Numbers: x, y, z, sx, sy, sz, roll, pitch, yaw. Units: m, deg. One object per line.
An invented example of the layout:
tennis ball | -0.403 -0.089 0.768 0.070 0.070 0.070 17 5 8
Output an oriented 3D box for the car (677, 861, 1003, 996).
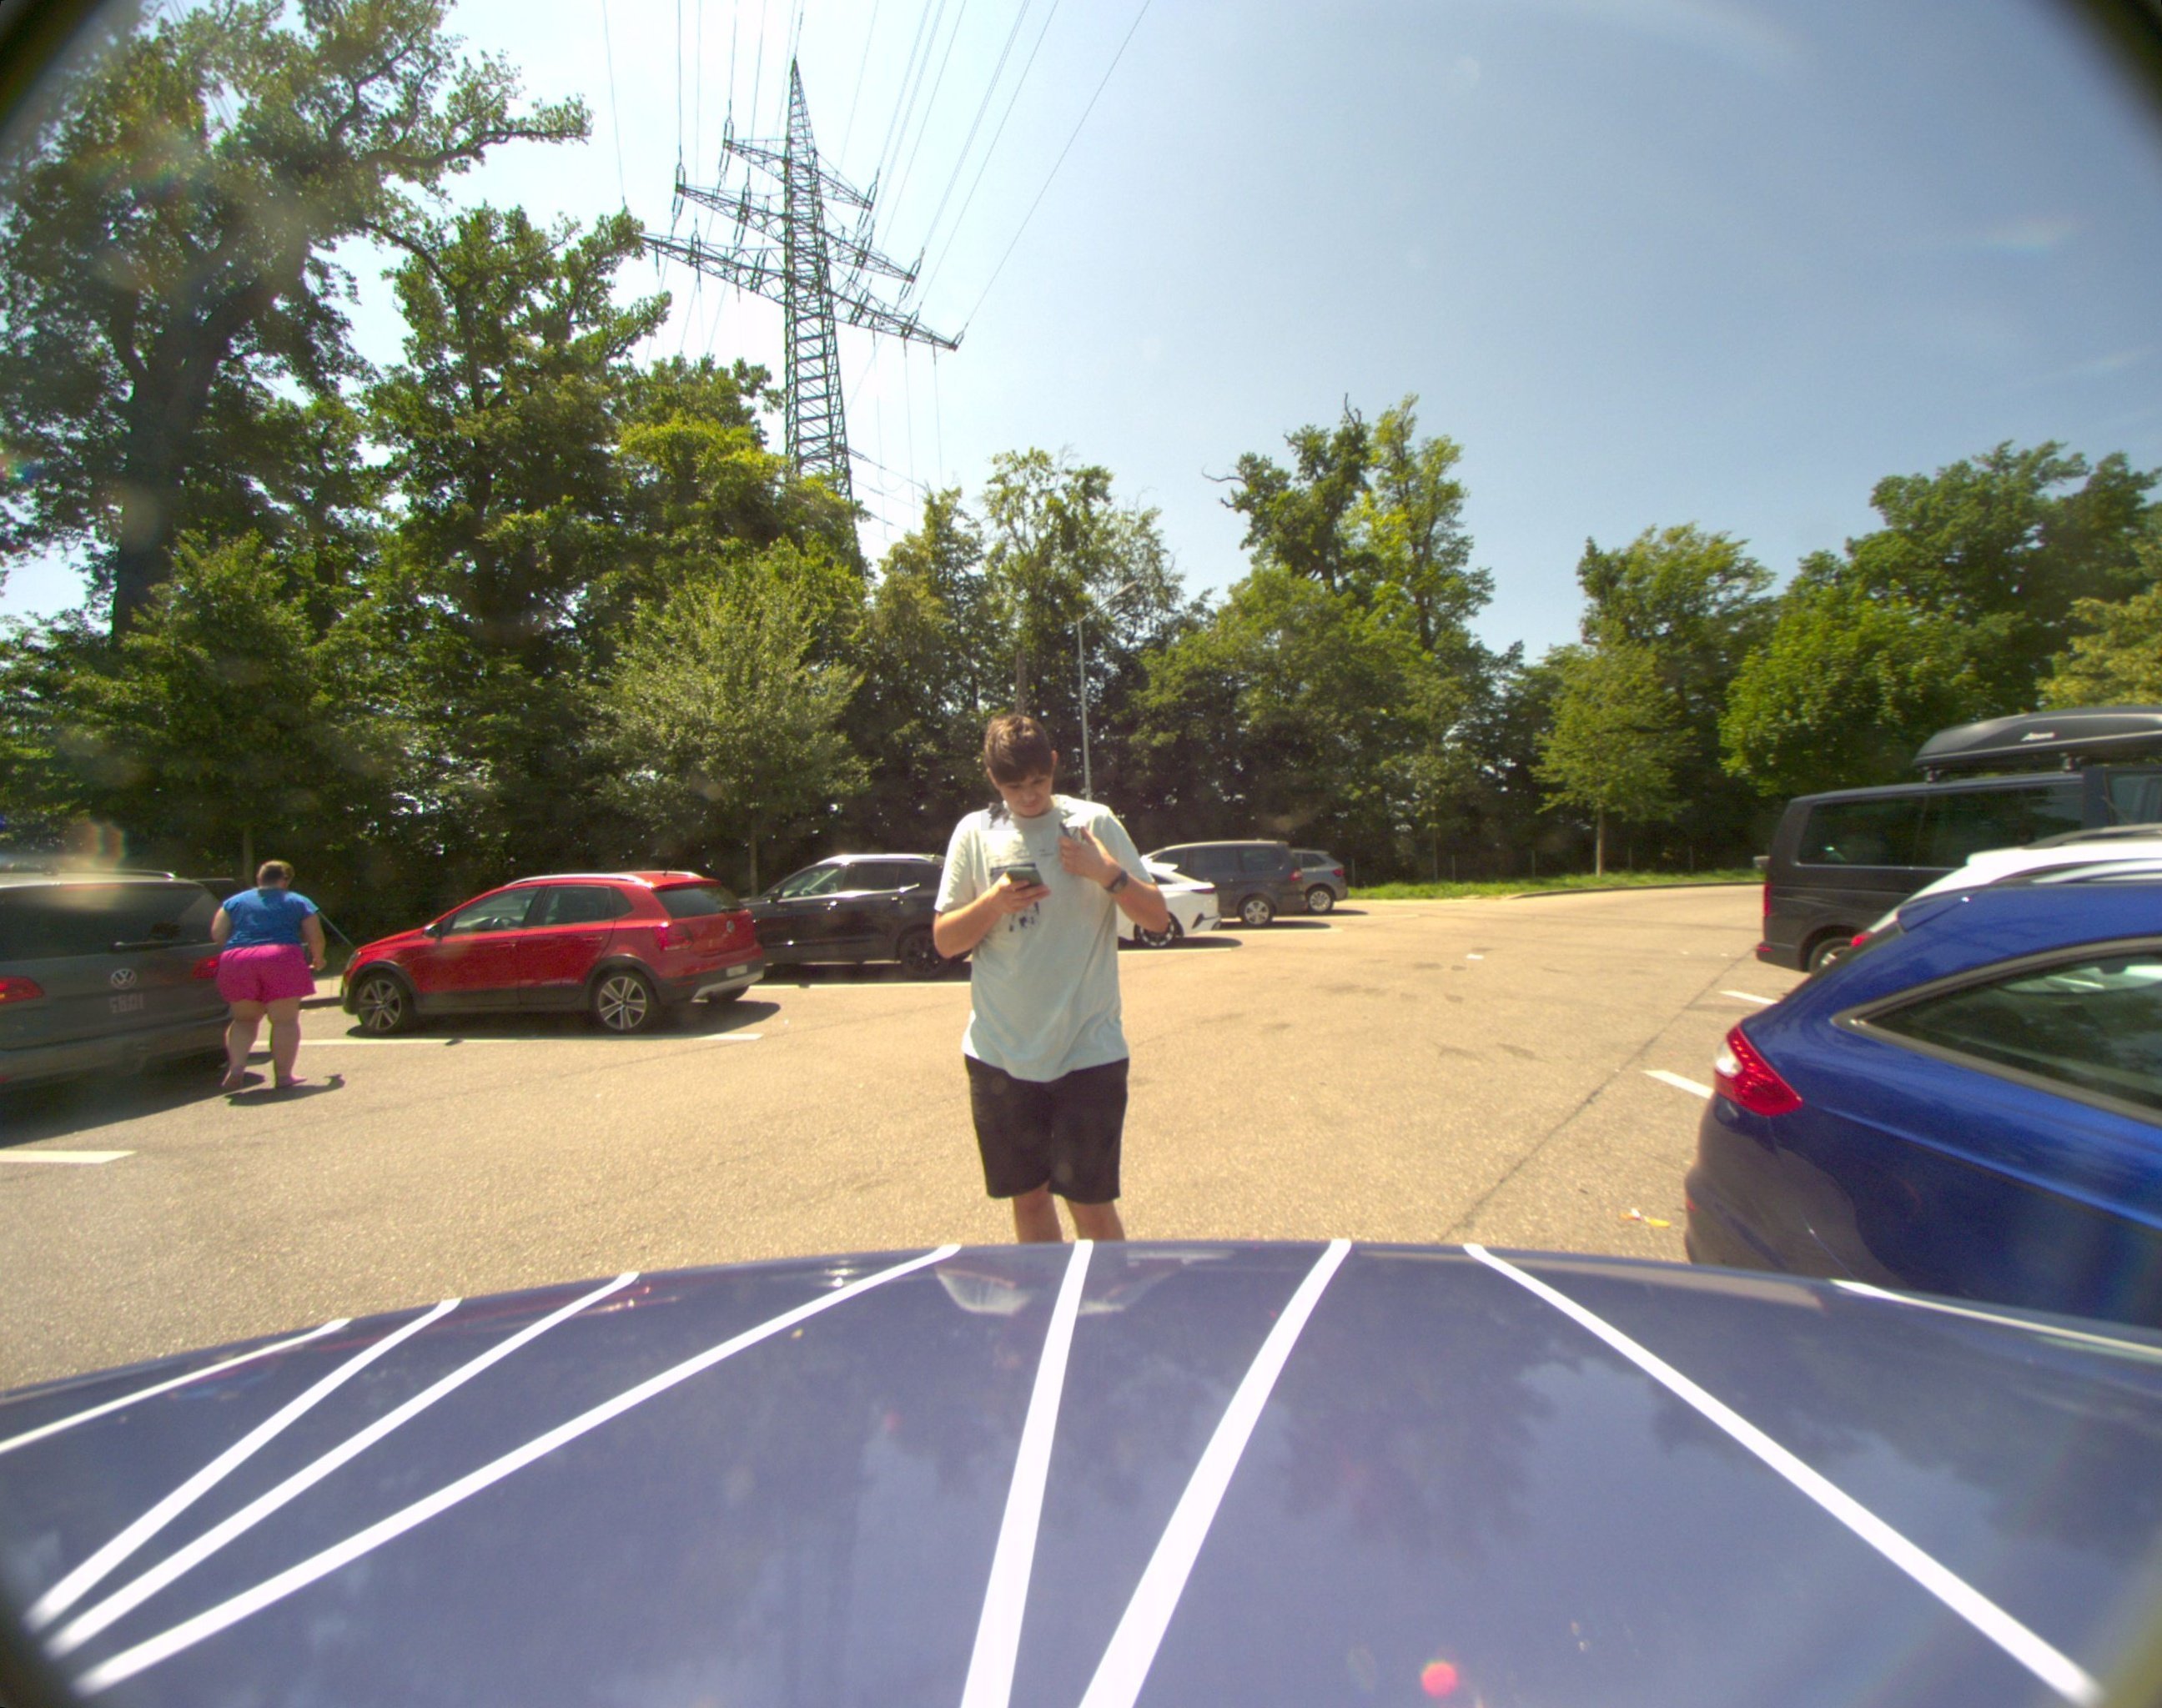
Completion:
car | -3.083 0.939 10.272 3.787 1.564 1.721 -1 1 2

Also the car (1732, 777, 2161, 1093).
car | 7.304 0.438 4.924 1.961 1.858 4.642 -3 -1 -3

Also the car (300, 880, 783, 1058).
car | -5.256 1.067 7.662 3.785 1.457 1.722 -1 1 9

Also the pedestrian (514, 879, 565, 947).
pedestrian | -10.924 1.167 15.327 0.782 1.287 0.670 -1 2 45

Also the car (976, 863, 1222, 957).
car | 0.348 0.902 12.738 3.819 1.377 1.722 -1 1 6

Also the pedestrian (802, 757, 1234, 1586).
pedestrian | -0.136 0.715 2.008 0.890 1.831 0.622 -2 1 -1

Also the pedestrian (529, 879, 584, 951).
pedestrian | -10.019 1.140 14.516 0.782 1.287 0.670 -1 2 45

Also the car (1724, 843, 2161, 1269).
car | 4.856 0.726 2.295 1.741 1.524 4.642 -3 -1 -2

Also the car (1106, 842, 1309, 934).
car | 2.571 0.670 15.463 3.818 1.714 1.722 -1 1 12

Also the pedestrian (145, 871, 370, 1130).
pedestrian | -6.039 0.991 5.604 0.732 1.672 0.921 -2 1 30

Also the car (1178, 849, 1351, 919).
car | 4.323 0.694 18.166 3.818 1.530 1.722 -1 1 12

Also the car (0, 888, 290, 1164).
car | -8.309 1.107 5.453 3.985 1.572 1.749 -1 1 12
